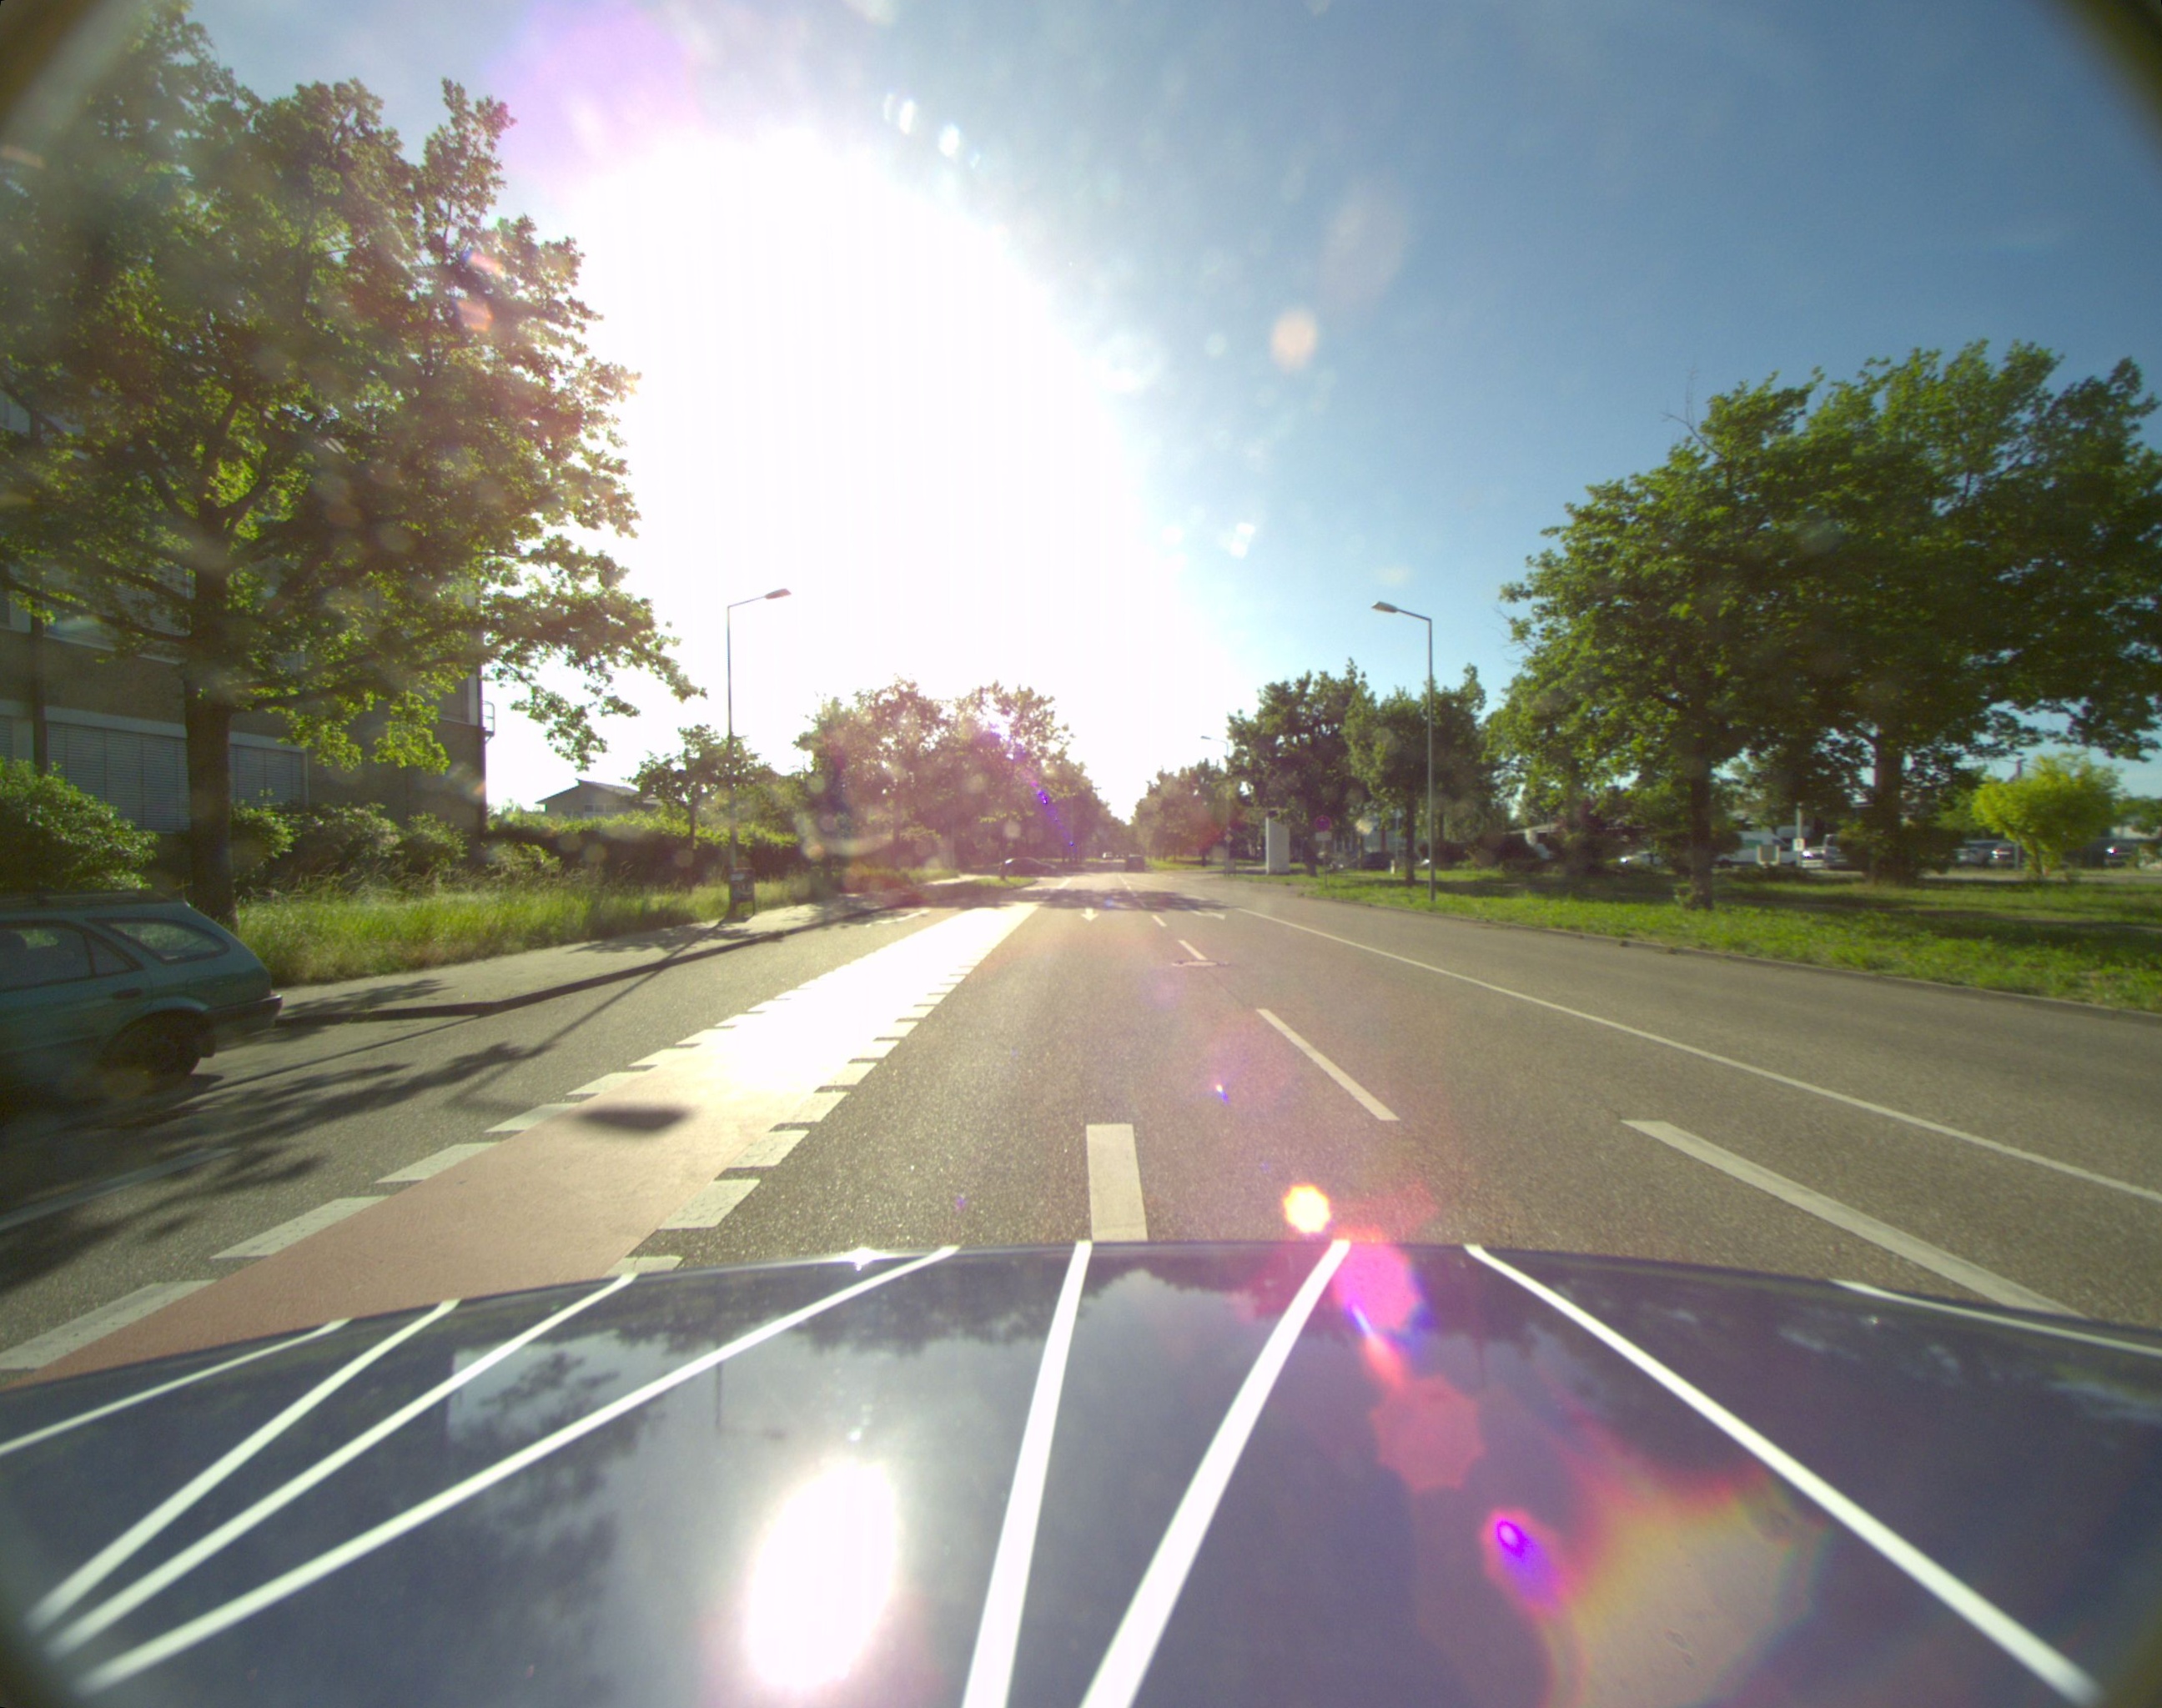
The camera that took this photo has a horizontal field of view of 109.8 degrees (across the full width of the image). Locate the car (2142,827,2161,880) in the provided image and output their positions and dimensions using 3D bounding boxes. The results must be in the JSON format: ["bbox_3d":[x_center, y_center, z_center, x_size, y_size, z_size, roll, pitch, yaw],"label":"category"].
[{"bbox_3d":[33.893,-0.088,22.017,3.817,1.562,1.736,-2,-1,0],"label":"car"}]

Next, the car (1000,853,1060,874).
[{"bbox_3d":[-3.856,0.742,58.258,4.486,1.510,1.896,-1,1,-1],"label":"car"}]

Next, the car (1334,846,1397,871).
[{"bbox_3d":[23.393,0.335,62.613,4.463,1.822,2.000,-2,1,0],"label":"car"}]

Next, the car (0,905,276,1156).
[{"bbox_3d":[-7.522,1.132,4.202,1.706,1.460,4.141,-1,-1,0],"label":"car"}]

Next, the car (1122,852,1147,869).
[{"bbox_3d":[4.859,0.589,69.726,1.768,1.517,4.078,0,0,-4],"label":"car"}]

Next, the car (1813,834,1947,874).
[{"bbox_3d":[40.067,-0.012,38.198,4.642,1.771,1.990,-2,1,0],"label":"car"}]

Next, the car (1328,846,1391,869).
[{"bbox_3d":[23.938,0.283,65.349,4.637,1.822,2.000,-2,1,0],"label":"car"}]

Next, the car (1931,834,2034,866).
[{"bbox_3d":[52.095,-0.215,43.936,3.860,1.661,1.762,-2,1,0],"label":"car"}]

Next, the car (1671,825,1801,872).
[{"bbox_3d":[39.907,-0.347,46.375,6.023,2.540,2.409,-2,1,-4],"label":"car"}]
